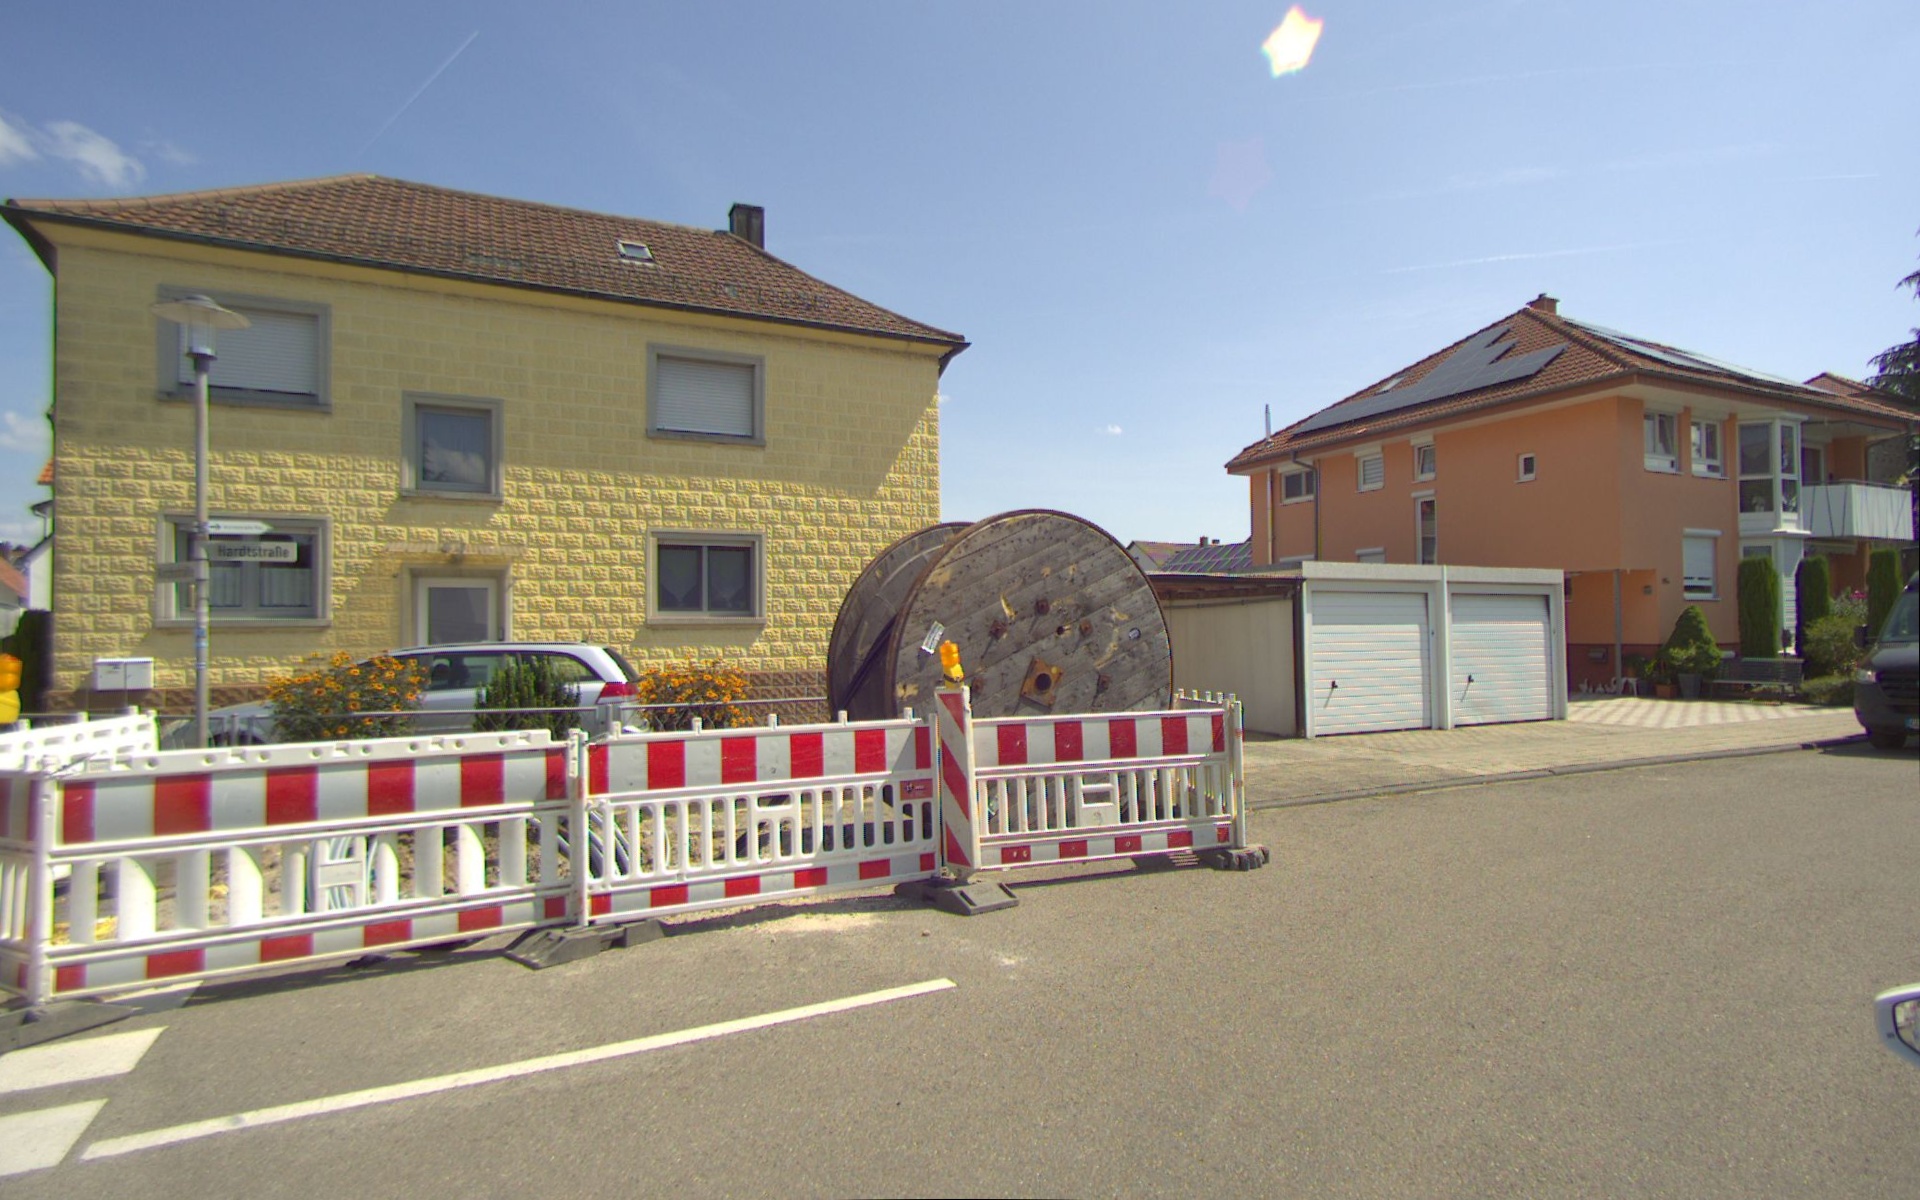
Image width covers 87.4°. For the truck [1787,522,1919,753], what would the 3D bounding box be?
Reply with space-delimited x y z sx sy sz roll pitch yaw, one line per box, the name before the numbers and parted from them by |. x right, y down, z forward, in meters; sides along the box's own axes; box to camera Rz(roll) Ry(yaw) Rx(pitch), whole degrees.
truck | 15.021 0.484 14.004 7.200 2.823 2.428 0 -5 -26

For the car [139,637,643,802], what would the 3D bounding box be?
car | -5.788 1.172 10.858 4.398 1.505 1.787 0 -2 -15

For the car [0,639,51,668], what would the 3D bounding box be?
car | -59.512 3.391 63.852 1.766 1.630 3.966 -2 0 -32
